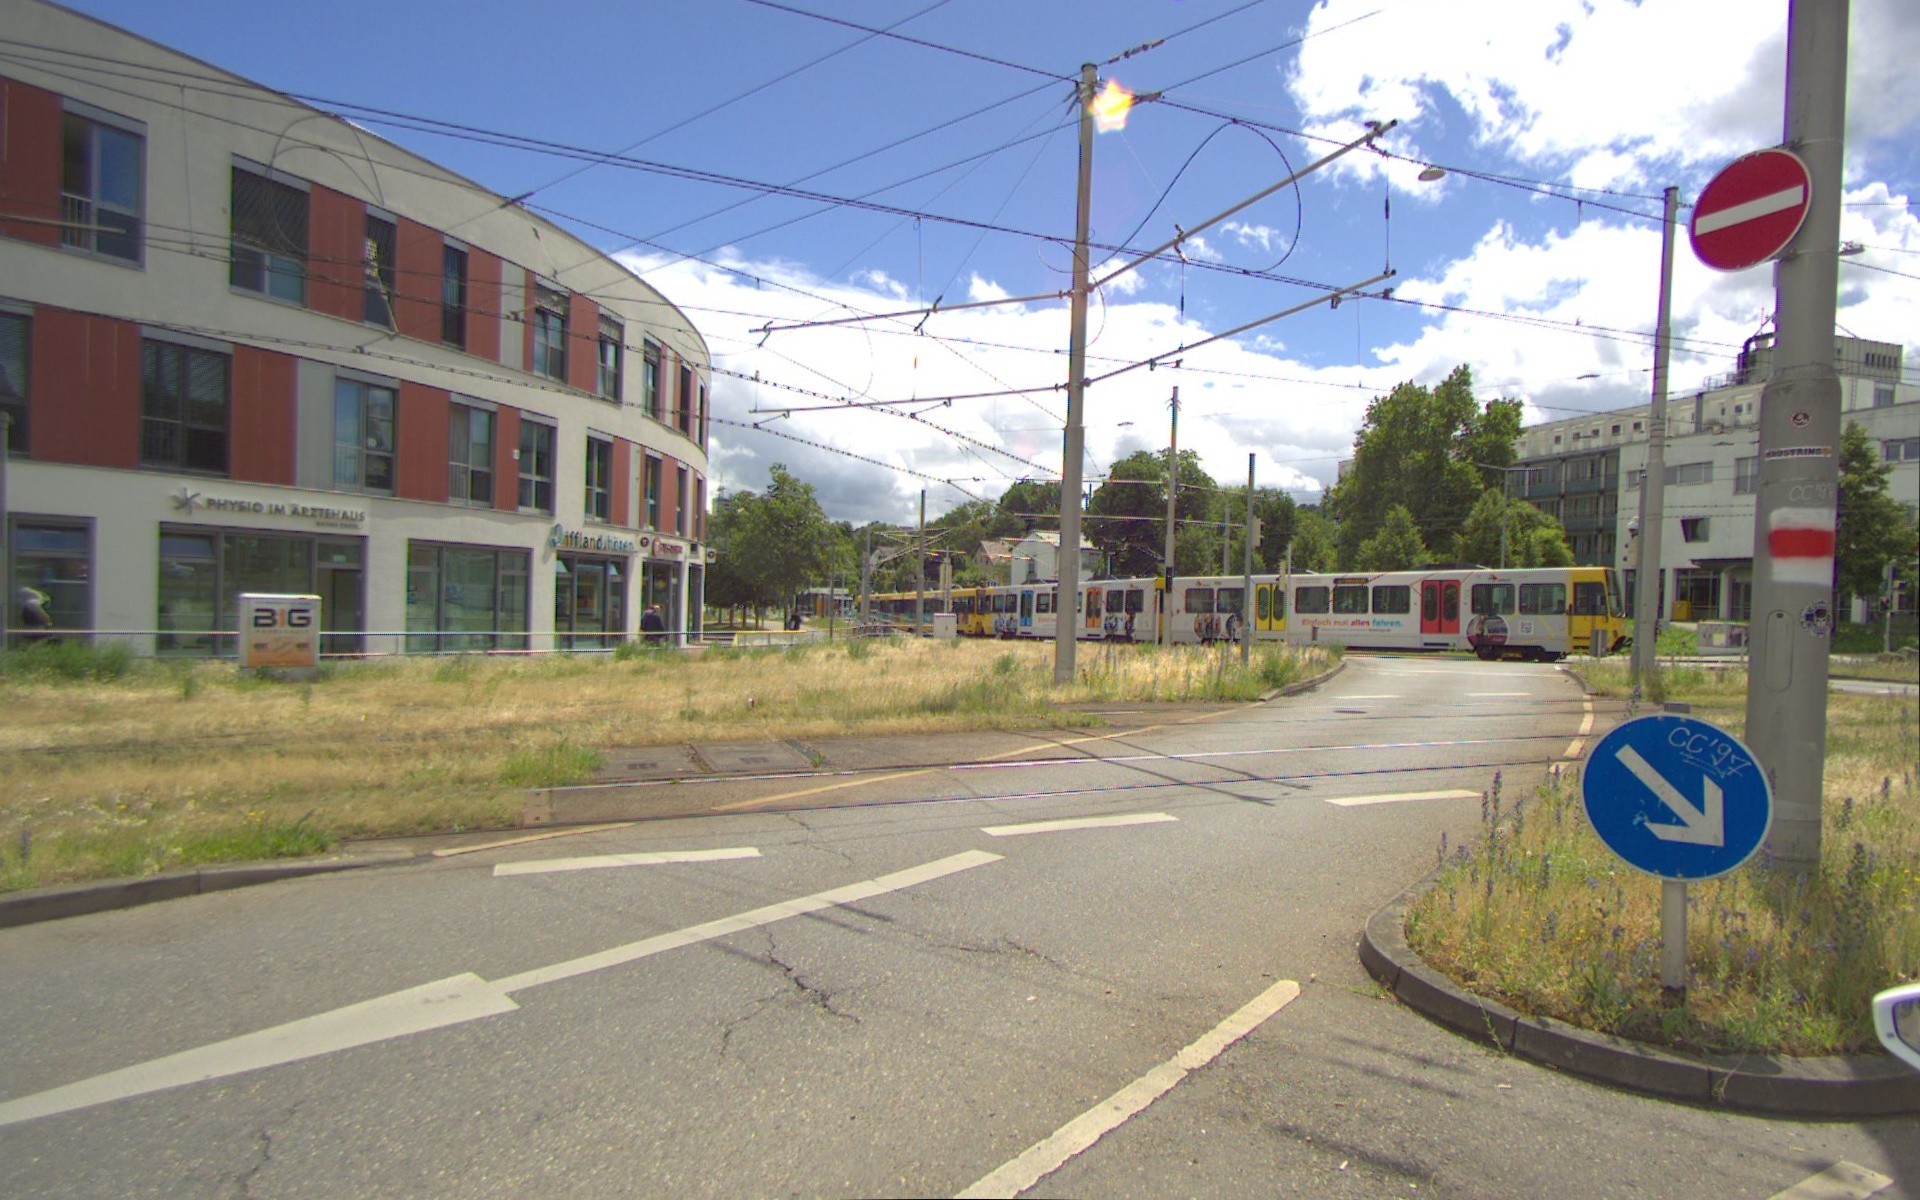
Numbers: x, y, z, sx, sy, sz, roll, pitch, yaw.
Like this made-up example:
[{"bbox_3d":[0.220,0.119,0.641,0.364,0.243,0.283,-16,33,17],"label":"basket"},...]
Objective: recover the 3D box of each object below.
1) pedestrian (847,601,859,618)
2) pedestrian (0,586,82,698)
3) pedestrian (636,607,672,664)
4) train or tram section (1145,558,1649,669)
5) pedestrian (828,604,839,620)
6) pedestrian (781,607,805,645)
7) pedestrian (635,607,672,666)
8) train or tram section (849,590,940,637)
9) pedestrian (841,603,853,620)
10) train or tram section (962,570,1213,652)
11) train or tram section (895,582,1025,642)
[{"bbox_3d":[-12.967,1.184,121.386,1.241,2.040,1.121,2,-1,-19],"label":"pedestrian"},{"bbox_3d":[-17.121,0.766,18.585,0.850,1.994,1.112,0,-2,36],"label":"pedestrian"},{"bbox_3d":[-8.783,1.008,28.882,0.720,1.601,0.691,1,0,14],"label":"pedestrian"},{"bbox_3d":[17.412,0.561,43.143,19.772,3.864,3.740,0,-2,44],"label":"train or tram section"},{"bbox_3d":[-16.770,1.594,133.496,1.241,2.040,1.121,2,-1,-19],"label":"pedestrian"},{"bbox_3d":[-7.469,1.166,44.957,0.847,1.646,0.733,1,-1,7],"label":"pedestrian"},{"bbox_3d":[-10.782,1.280,35.386,0.847,1.994,1.106,1,-1,4],"label":"pedestrian"},{"bbox_3d":[-6.497,1.328,94.386,3.703,3.970,18.818,2,-2,-19],"label":"train or tram section"},{"bbox_3d":[-14.160,1.438,125.451,1.241,2.040,1.121,2,-1,-19],"label":"pedestrian"},{"bbox_3d":[6.424,0.719,58.671,3.713,3.930,20.495,2,-2,-27],"label":"train or tram section"},{"bbox_3d":[-0.571,1.012,76.689,3.703,3.880,20.068,2,-2,-18],"label":"train or tram section"}]
